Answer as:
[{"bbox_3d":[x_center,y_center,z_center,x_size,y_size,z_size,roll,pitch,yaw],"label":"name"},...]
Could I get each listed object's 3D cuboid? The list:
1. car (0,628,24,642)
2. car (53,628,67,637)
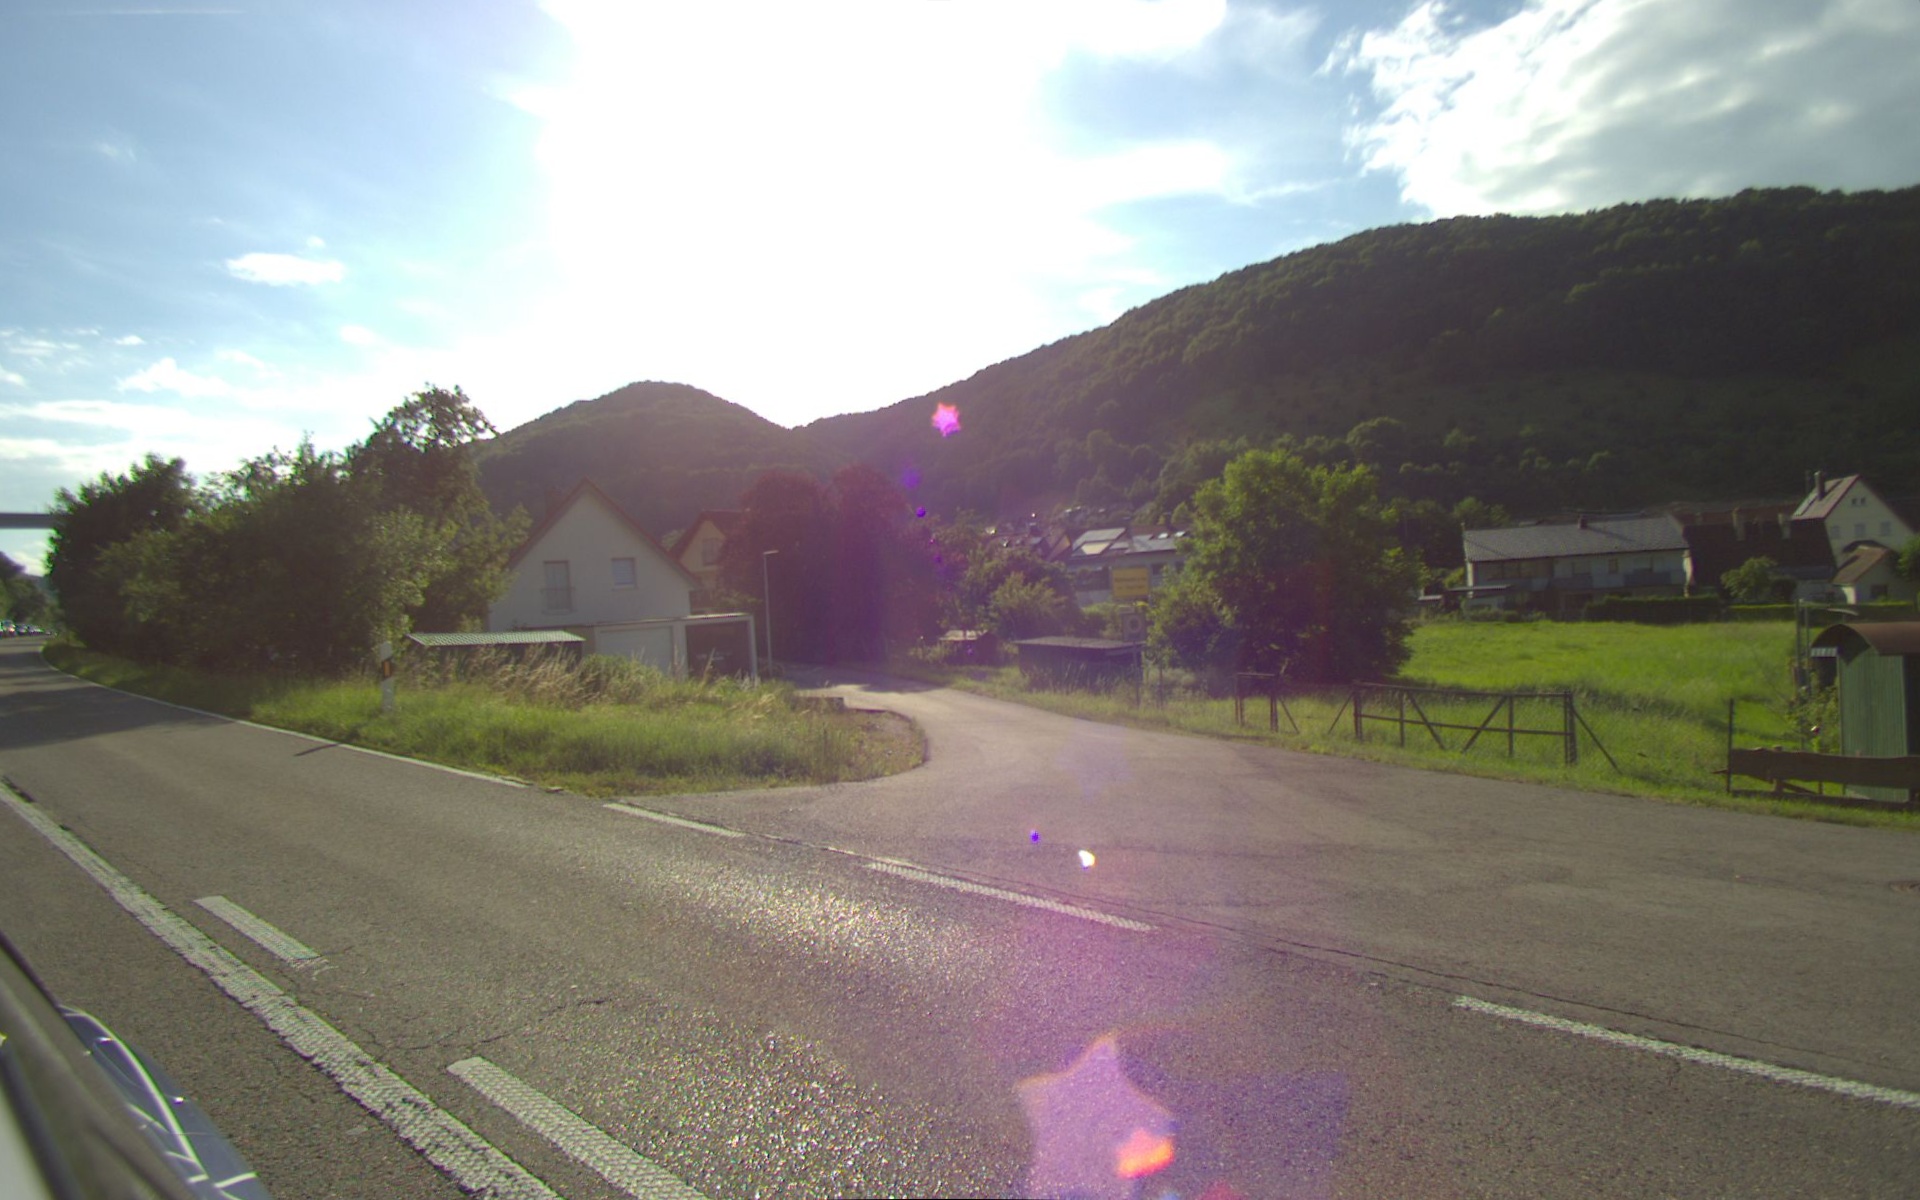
[{"bbox_3d":[-114.253,4.195,121.887,1.813,1.564,4.186,1,-2,-37],"label":"car"},{"bbox_3d":[-164.098,5.833,184.494,1.792,1.630,3.809,1,-2,-43],"label":"car"}]
